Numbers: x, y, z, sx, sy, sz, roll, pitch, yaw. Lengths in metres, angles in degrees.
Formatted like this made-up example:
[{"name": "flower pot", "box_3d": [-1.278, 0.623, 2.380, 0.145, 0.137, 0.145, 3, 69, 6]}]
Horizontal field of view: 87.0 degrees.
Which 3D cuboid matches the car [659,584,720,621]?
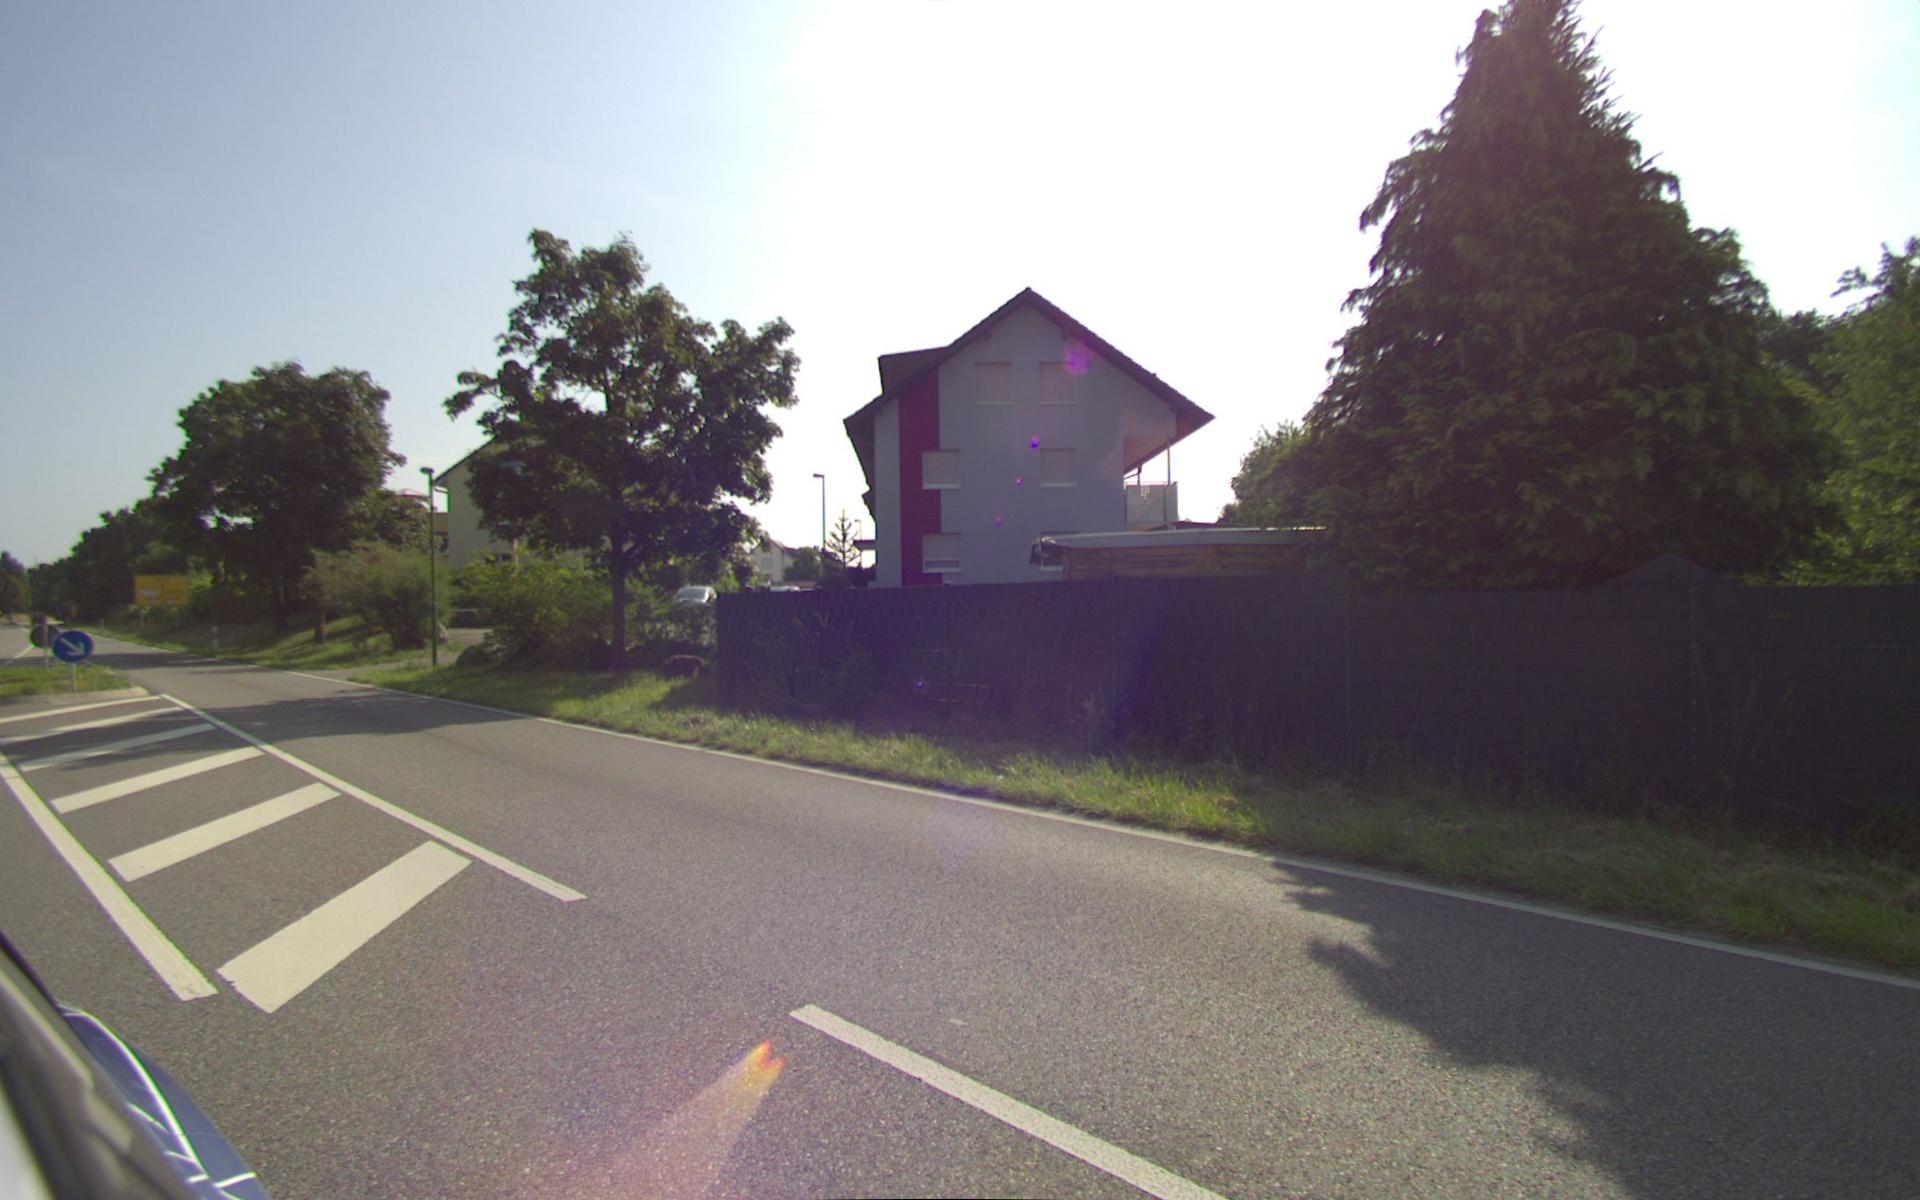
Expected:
[{"name": "car", "box_3d": [-11.940, 0.097, 44.917, 1.840, 1.474, 4.238, -2, 0, -4]}]
